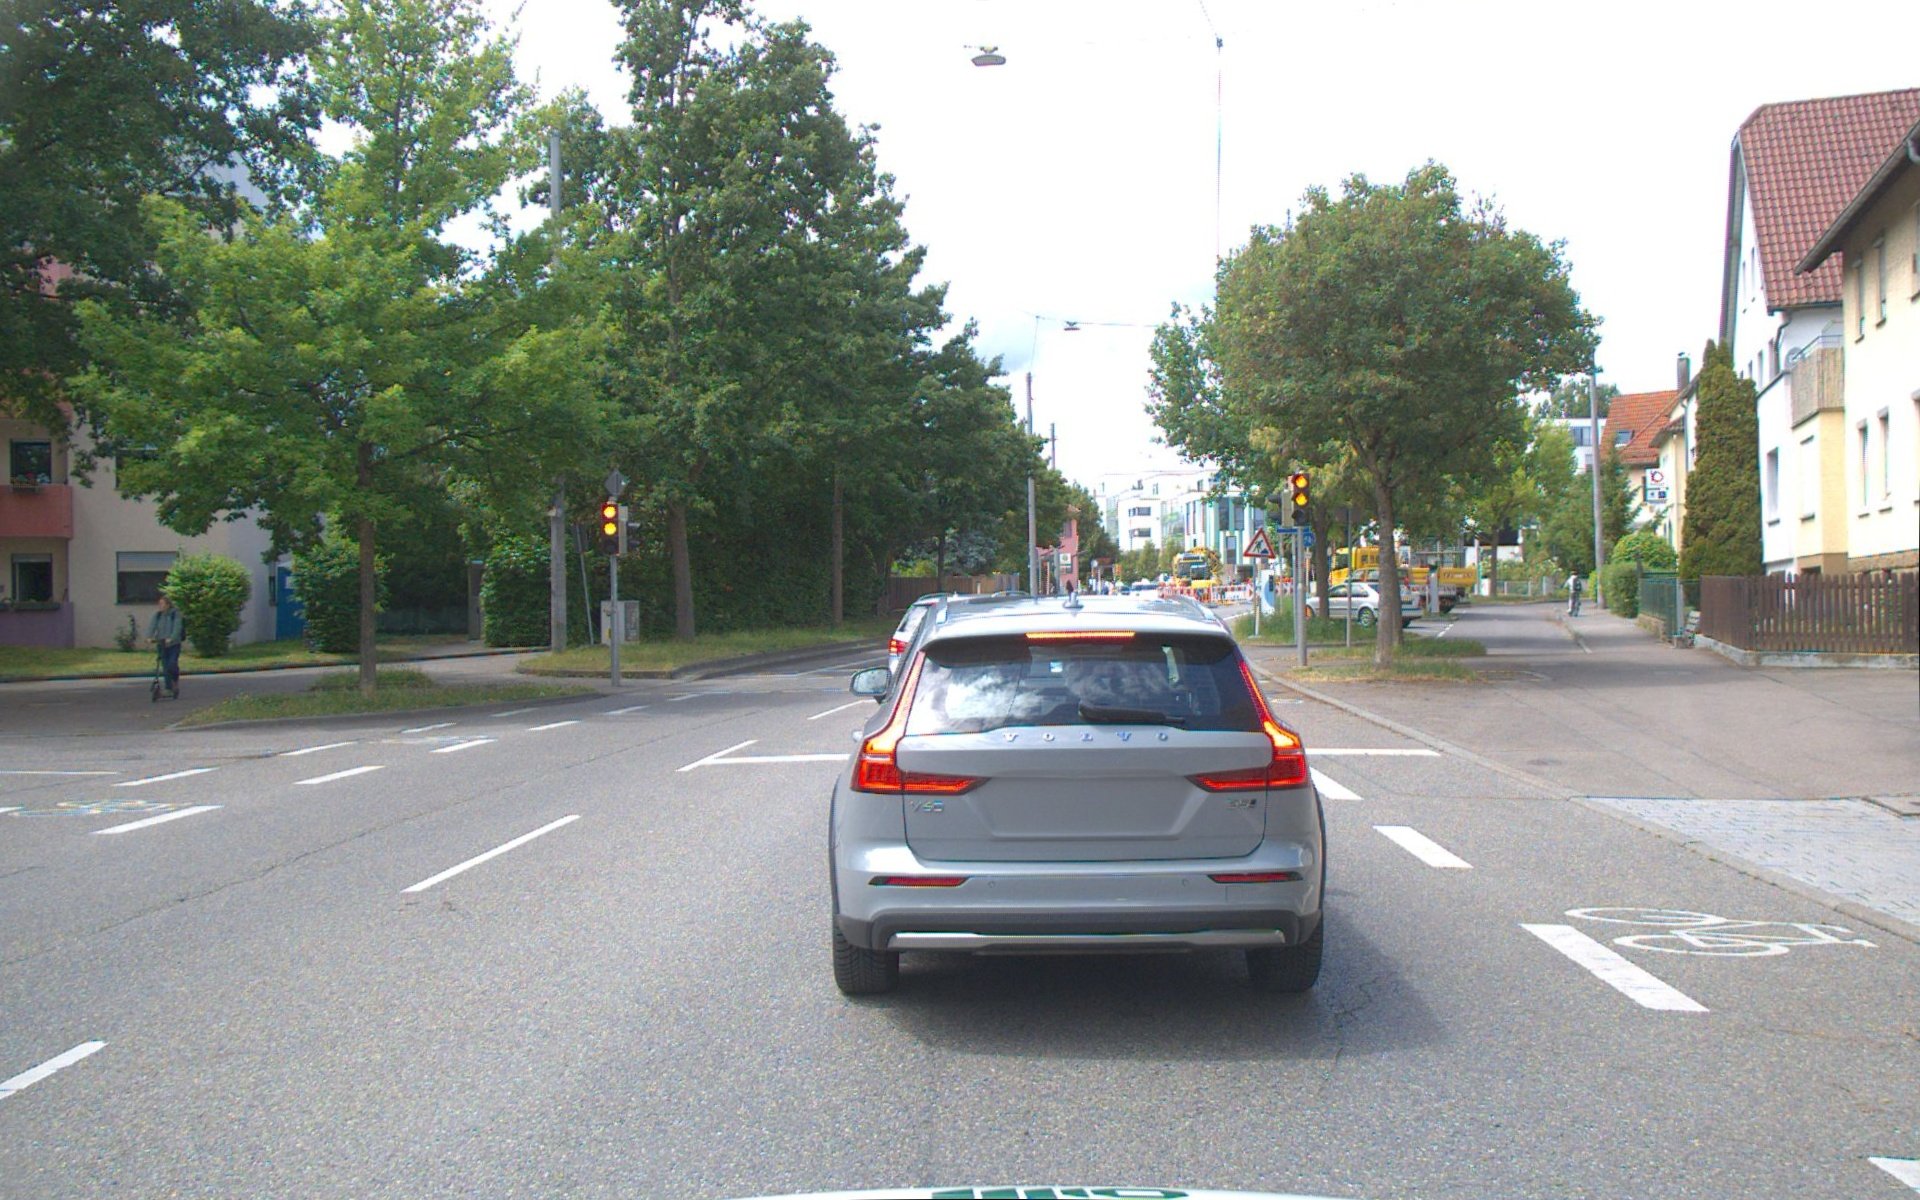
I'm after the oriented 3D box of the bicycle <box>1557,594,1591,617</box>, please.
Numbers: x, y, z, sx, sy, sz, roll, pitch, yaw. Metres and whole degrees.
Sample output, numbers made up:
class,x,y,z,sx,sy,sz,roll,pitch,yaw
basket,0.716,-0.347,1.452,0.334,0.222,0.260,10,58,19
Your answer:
class,x,y,z,sx,sy,sz,roll,pitch,yaw
bicycle,22.531,0.208,60.714,0.582,0.826,1.753,1,0,-1

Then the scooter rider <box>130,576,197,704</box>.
class,x,y,z,sx,sy,sz,roll,pitch,yaw
scooter rider,-13.000,0.641,27.006,0.663,2.049,0.794,1,-1,-1

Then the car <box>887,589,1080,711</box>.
class,x,y,z,sx,sy,sz,roll,pitch,yaw
car,0.428,0.646,22.872,2.057,1.536,4.003,0,-1,10

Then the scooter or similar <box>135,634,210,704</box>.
class,x,y,z,sx,sy,sz,roll,pitch,yaw
scooter or similar,-12.869,1.117,27.053,0.741,1.102,0.944,1,-1,-1

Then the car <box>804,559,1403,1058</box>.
class,x,y,z,sx,sy,sz,roll,pitch,yaw
car,0.481,0.668,7.234,1.888,1.567,4.000,0,0,1

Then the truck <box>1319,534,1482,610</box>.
class,x,y,z,sx,sy,sz,roll,pitch,yaw
truck,18.819,-1.157,71.029,2.737,3.061,6.626,2,-1,-34

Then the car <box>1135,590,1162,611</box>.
class,x,y,z,sx,sy,sz,roll,pitch,yaw
car,13.876,0.042,121.446,1.789,1.353,4.003,1,-2,9

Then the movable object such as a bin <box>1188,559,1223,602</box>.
class,x,y,z,sx,sy,sz,roll,pitch,yaw
movable object such as a bin,16.252,-1.273,109.454,1.991,2.689,5.945,-2,0,11

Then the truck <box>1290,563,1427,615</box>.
class,x,y,z,sx,sy,sz,roll,pitch,yaw
truck,16.608,-0.458,69.225,1.979,2.049,5.601,2,-1,-37

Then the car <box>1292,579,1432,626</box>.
class,x,y,z,sx,sy,sz,roll,pitch,yaw
car,13.182,0.063,54.500,1.745,1.477,4.638,-1,1,-32

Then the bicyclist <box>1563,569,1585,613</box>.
class,x,y,z,sx,sy,sz,roll,pitch,yaw
bicyclist,22.544,-0.325,60.750,0.577,1.586,0.566,1,-1,-2

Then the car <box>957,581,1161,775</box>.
class,x,y,z,sx,sy,sz,roll,pitch,yaw
car,0.874,0.651,15.386,1.627,1.534,3.703,2,0,2
